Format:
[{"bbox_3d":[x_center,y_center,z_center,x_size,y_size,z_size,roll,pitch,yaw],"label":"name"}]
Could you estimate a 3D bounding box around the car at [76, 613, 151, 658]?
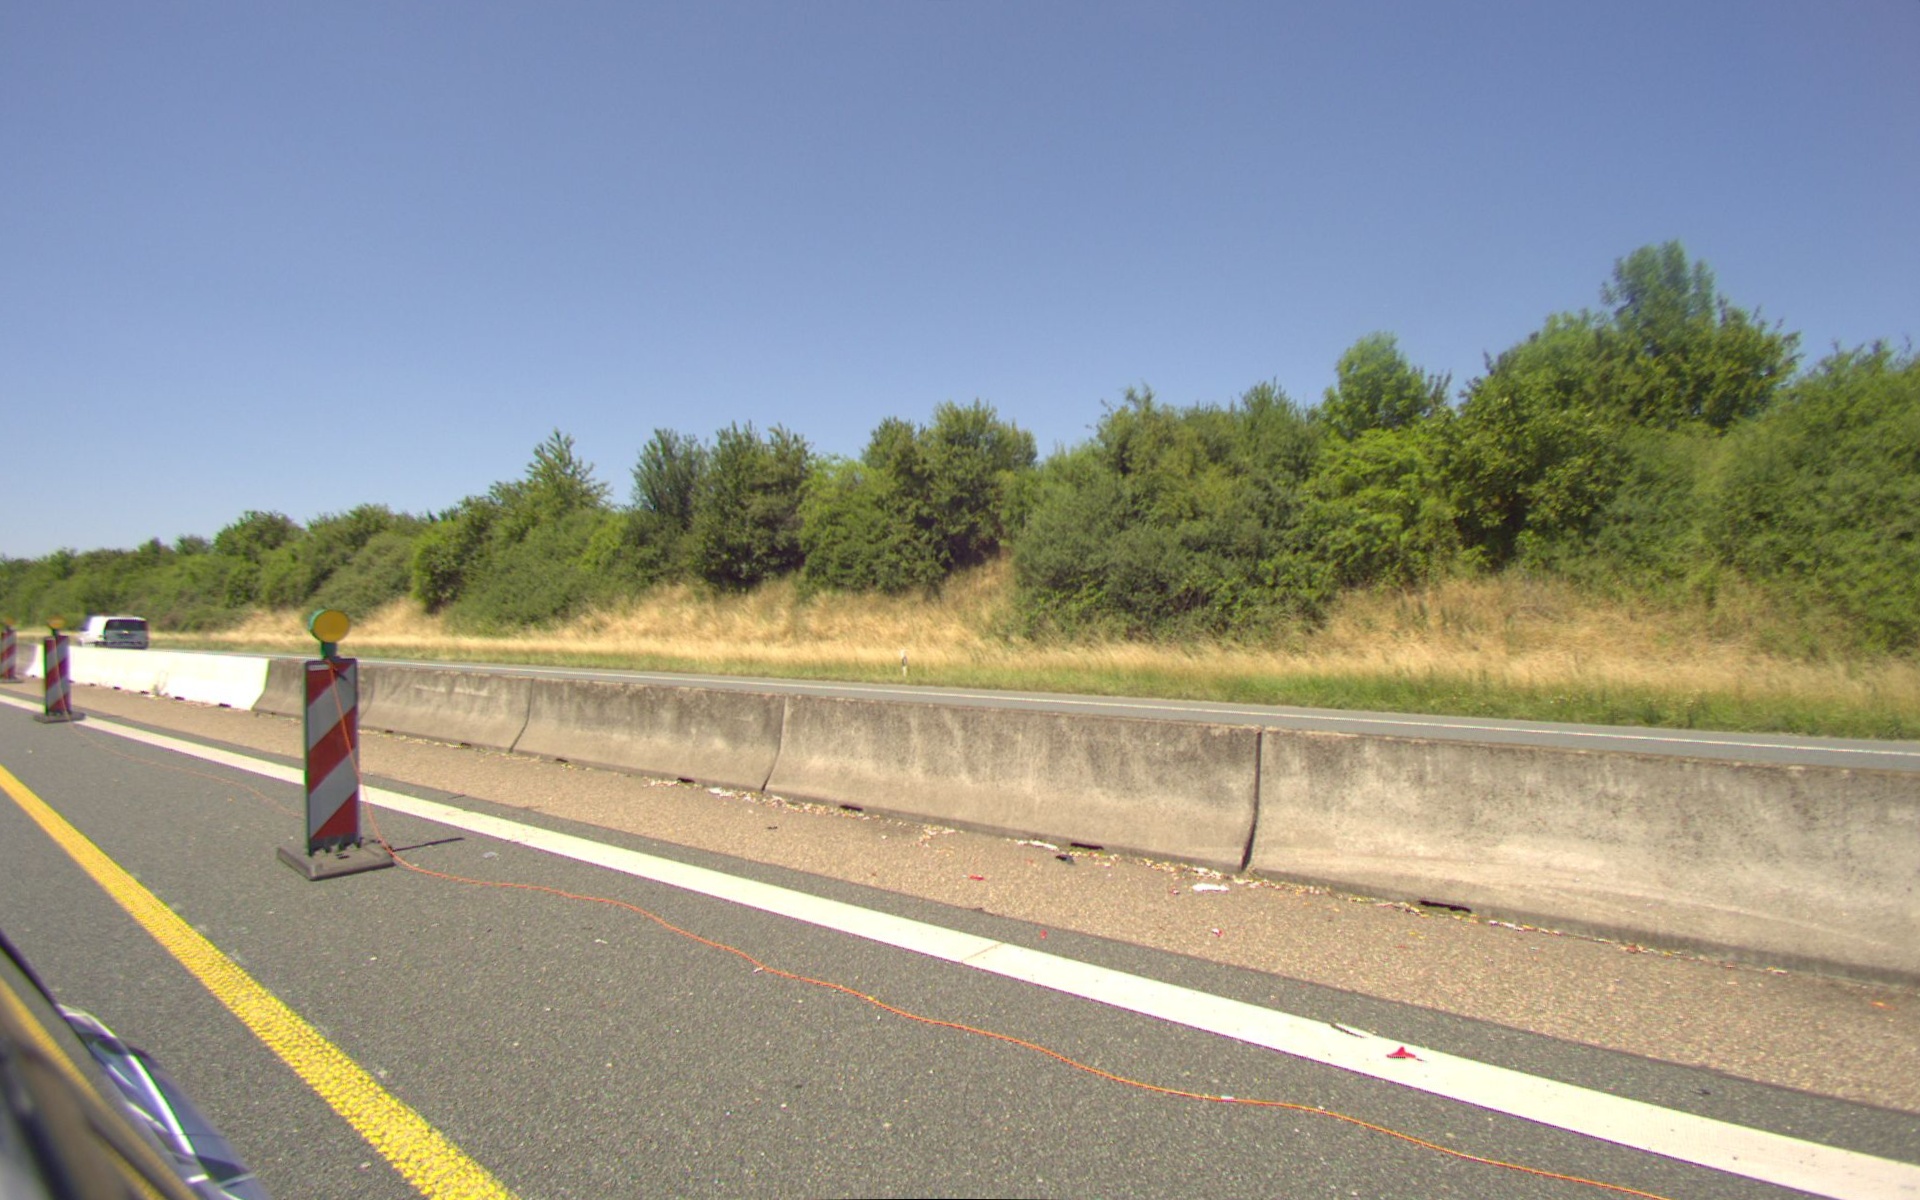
[{"bbox_3d":[-41.715,1.712,49.846,4.933,2.101,1.944,-1,-2,40],"label":"car"}]
